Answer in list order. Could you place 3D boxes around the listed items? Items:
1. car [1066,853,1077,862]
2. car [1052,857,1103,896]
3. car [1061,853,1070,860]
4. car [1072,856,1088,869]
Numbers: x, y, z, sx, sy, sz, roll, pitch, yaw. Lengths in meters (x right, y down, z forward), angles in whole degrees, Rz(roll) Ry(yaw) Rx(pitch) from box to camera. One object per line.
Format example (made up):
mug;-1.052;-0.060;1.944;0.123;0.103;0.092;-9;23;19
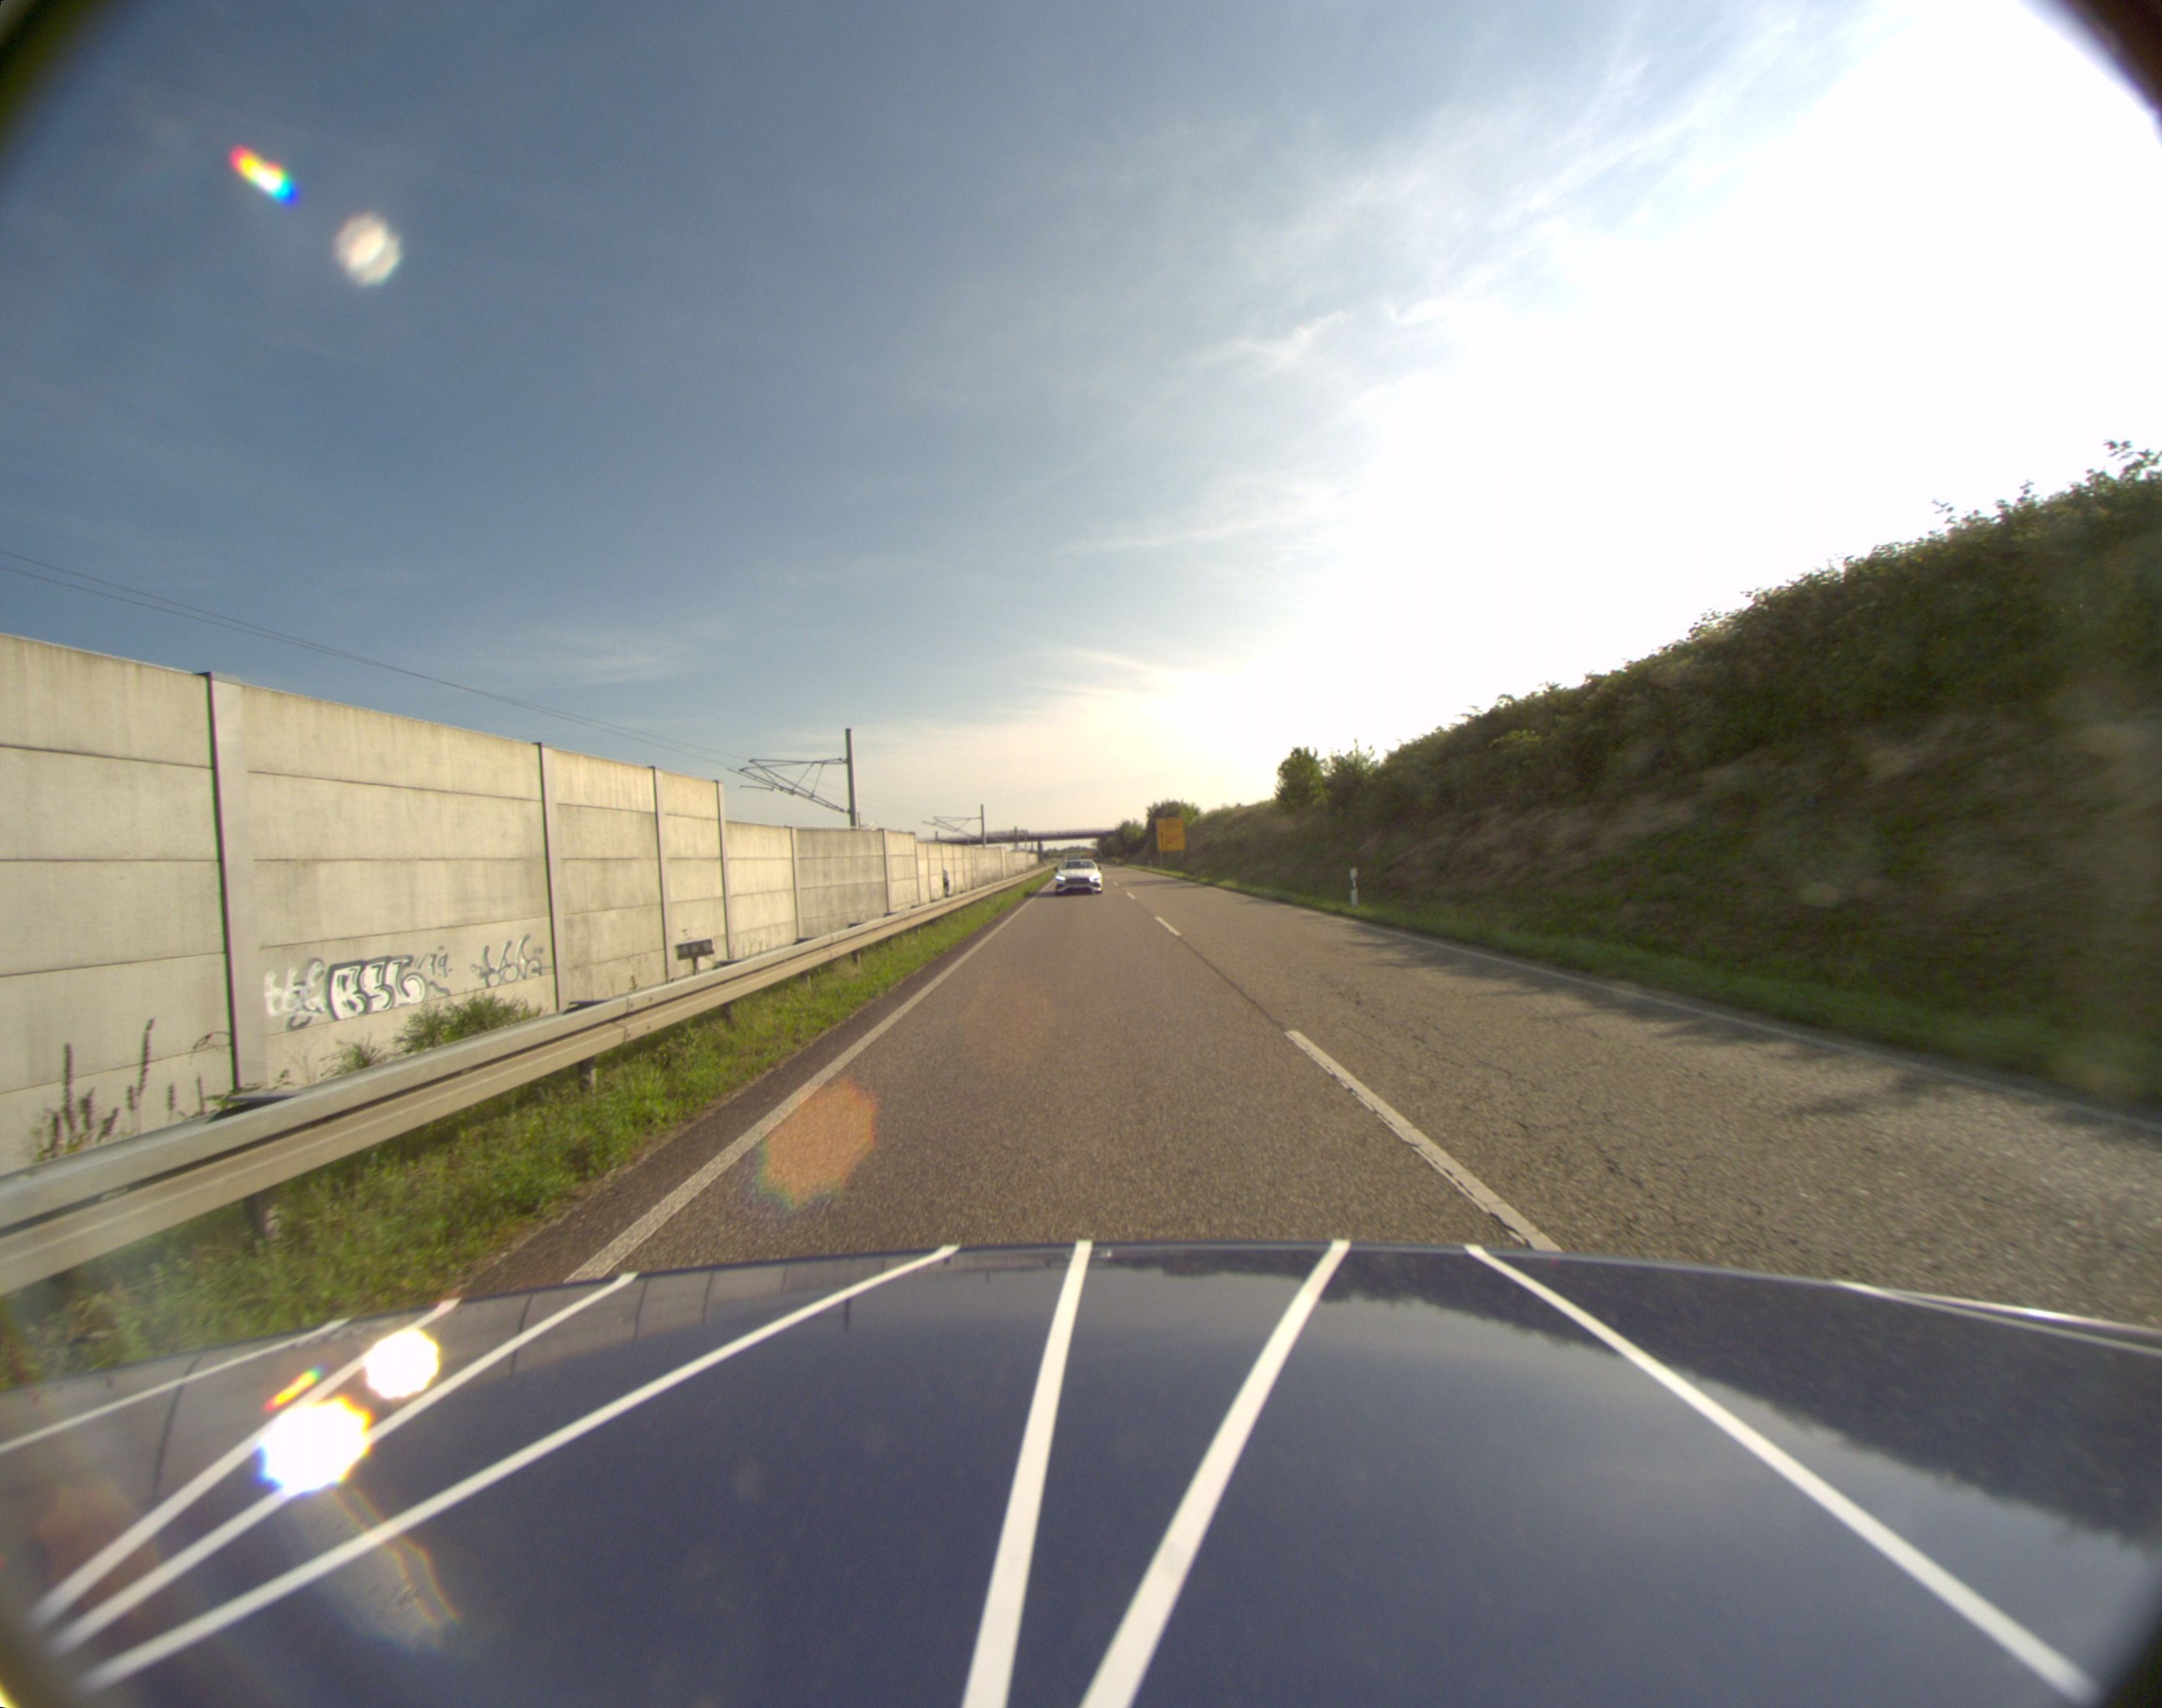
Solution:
car;-1.762;0.614;139.191;1.930;1.399;4.973;-1;1;0
car;-0.081;0.873;31.943;1.930;1.399;4.974;-2;0;1
car;-3.526;0.558;175.358;1.930;1.399;4.973;-1;1;0
car;-0.117;0.974;92.908;1.930;1.399;4.973;-1;1;-1
